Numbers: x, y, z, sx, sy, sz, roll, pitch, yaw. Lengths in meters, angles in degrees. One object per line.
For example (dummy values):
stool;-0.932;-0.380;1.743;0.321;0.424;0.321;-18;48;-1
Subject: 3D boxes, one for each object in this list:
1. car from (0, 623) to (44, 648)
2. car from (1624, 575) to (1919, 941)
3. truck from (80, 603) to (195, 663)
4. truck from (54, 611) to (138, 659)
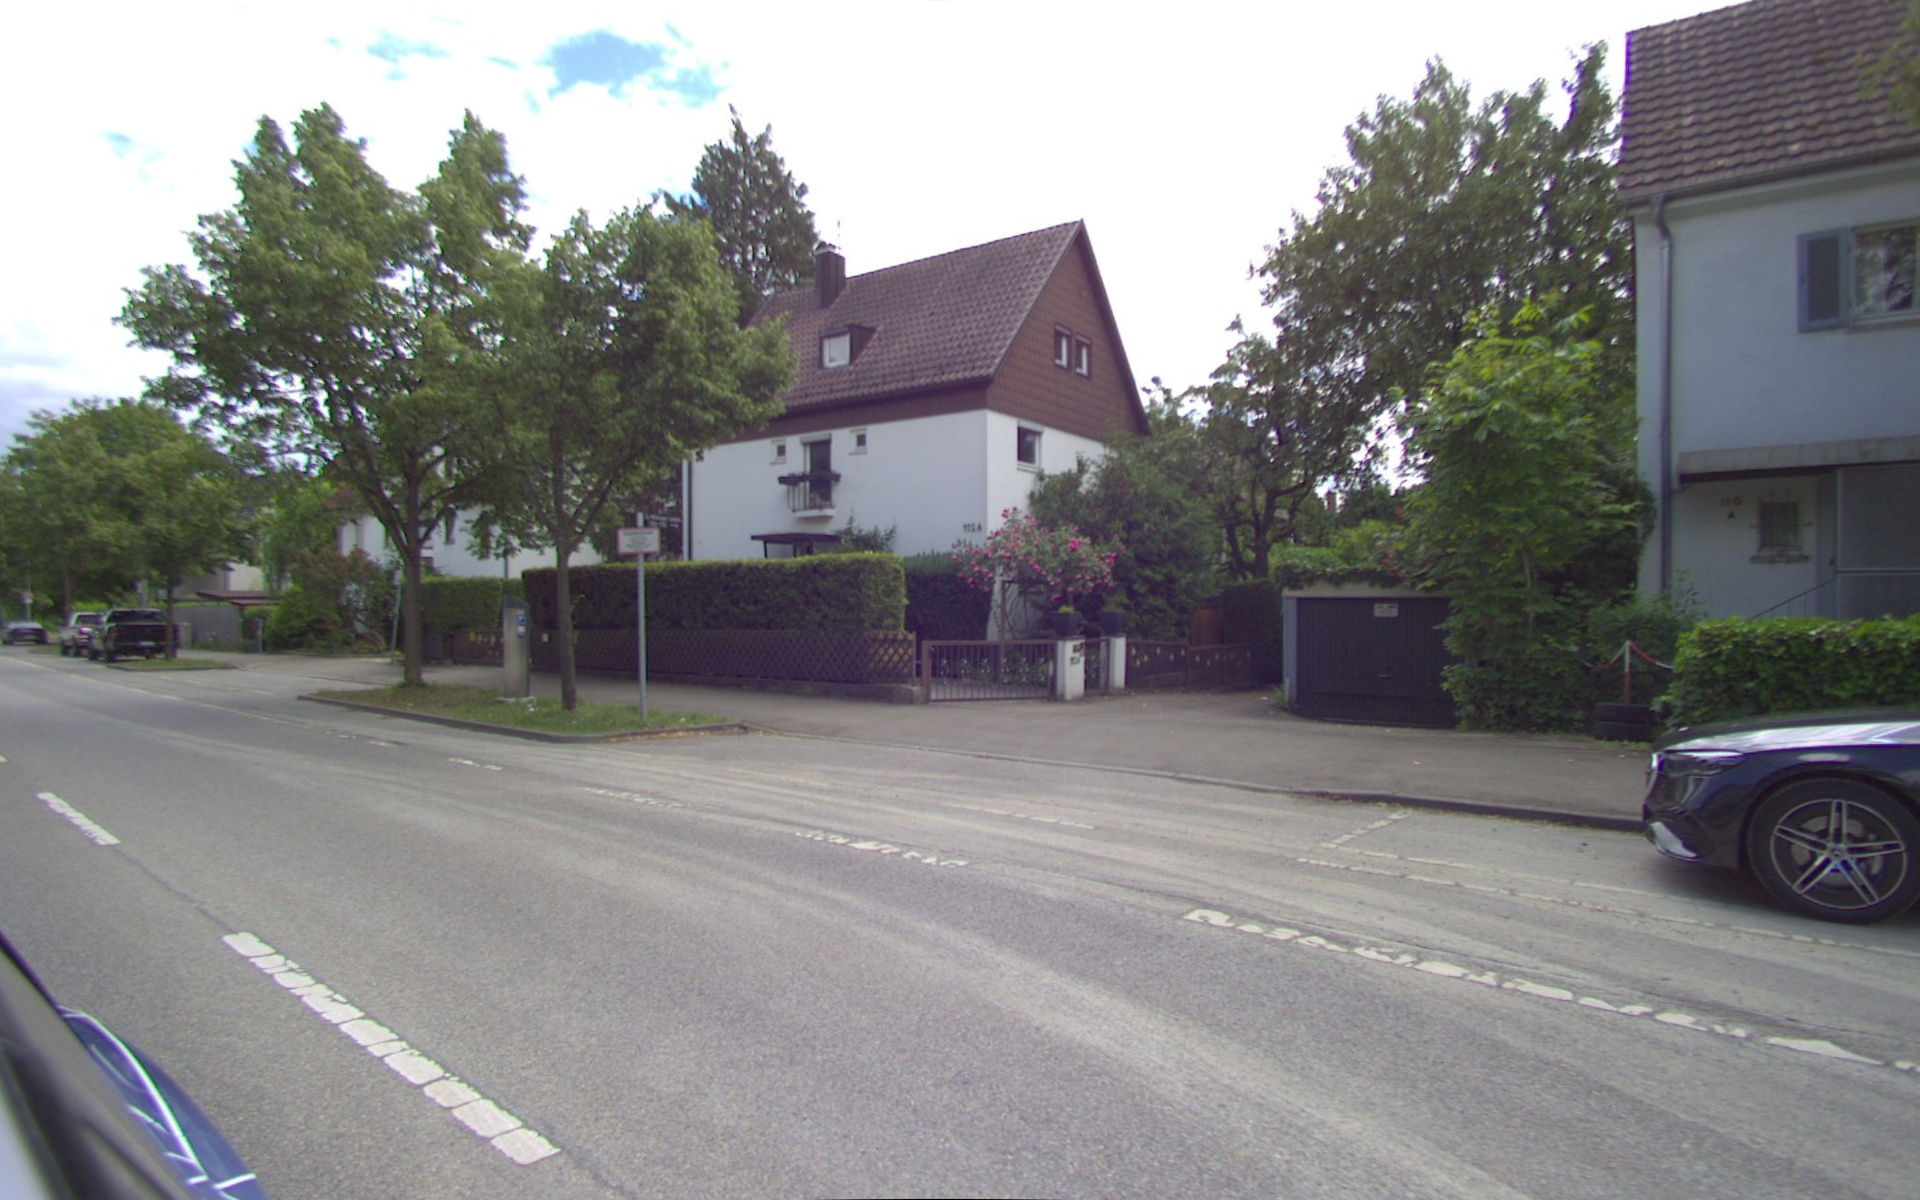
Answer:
car;-57.531;2.148;61.894;4.925;1.419;1.727;-1;-2;42
car;6.093;0.710;4.549;5.031;1.659;2.075;-2;-2;38
truck;-30.562;1.186;37.543;5.993;2.059;2.397;-1;-1;42
truck;-36.360;1.454;42.536;5.664;1.882;1.945;-1;-3;42
